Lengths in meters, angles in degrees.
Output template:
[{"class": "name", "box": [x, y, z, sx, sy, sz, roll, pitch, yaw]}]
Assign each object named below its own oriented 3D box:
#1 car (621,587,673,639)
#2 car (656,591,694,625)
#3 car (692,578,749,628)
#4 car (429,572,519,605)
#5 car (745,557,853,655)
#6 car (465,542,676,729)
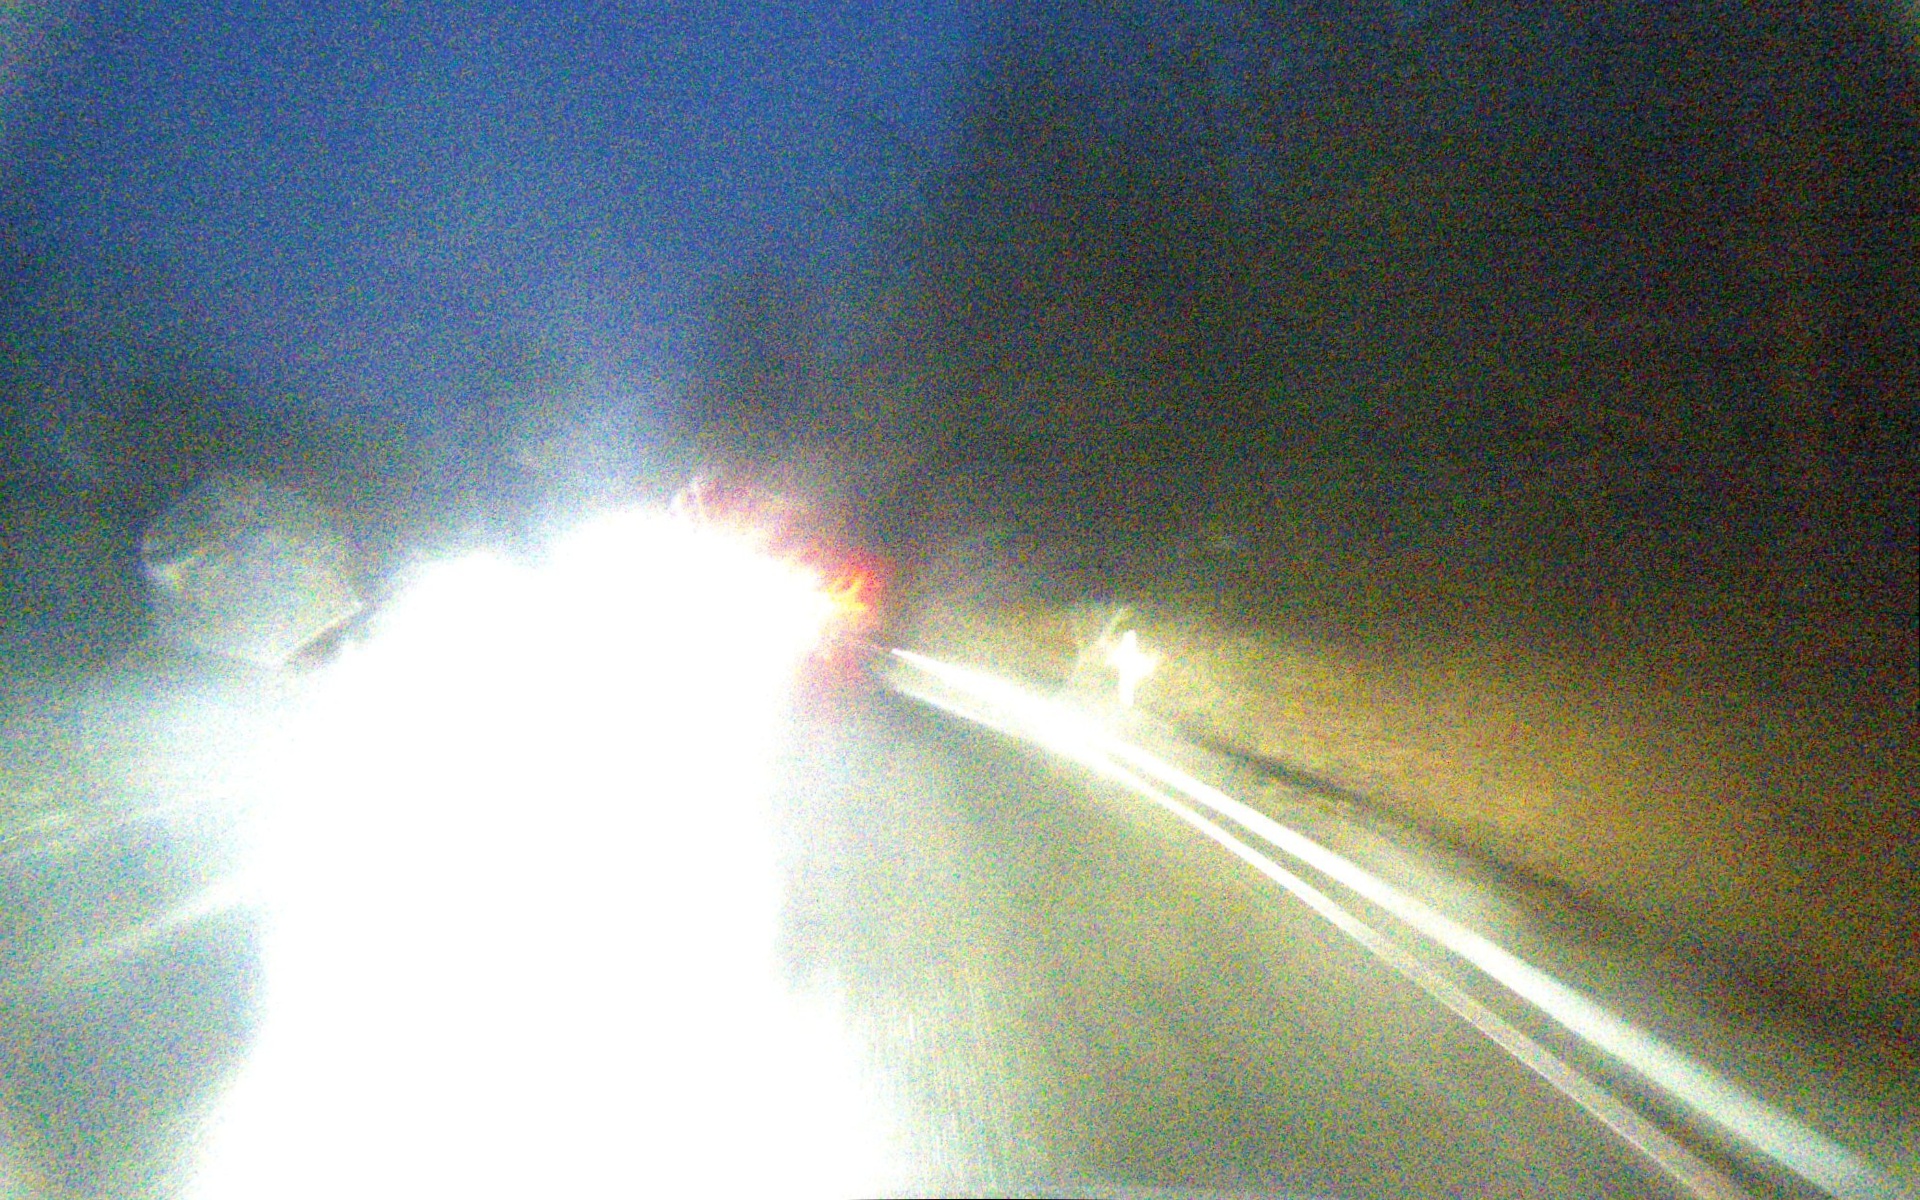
[{"class": "car", "box": [-10.356, 0.398, 54.833, 1.606, 1.536, 4.086, -1, 2, -10]}, {"class": "car", "box": [-15.166, 0.431, 87.930, 1.711, 1.743, 3.686, 2, -1, -14]}, {"class": "car", "box": [-10.427, 0.136, 71.709, 1.960, 2.049, 3.984, 2, -1, -15]}, {"class": "car", "box": [-27.676, -0.672, 94.239, 4.836, 1.764, 1.990, -1, 2, -18]}, {"class": "car", "box": [-4.679, 0.084, 47.304, 2.494, 2.541, 5.699, -1, 2, -11]}, {"class": "car", "box": [-4.811, 0.406, 21.101, 1.955, 2.049, 4.839, 2, 0, -6]}]
